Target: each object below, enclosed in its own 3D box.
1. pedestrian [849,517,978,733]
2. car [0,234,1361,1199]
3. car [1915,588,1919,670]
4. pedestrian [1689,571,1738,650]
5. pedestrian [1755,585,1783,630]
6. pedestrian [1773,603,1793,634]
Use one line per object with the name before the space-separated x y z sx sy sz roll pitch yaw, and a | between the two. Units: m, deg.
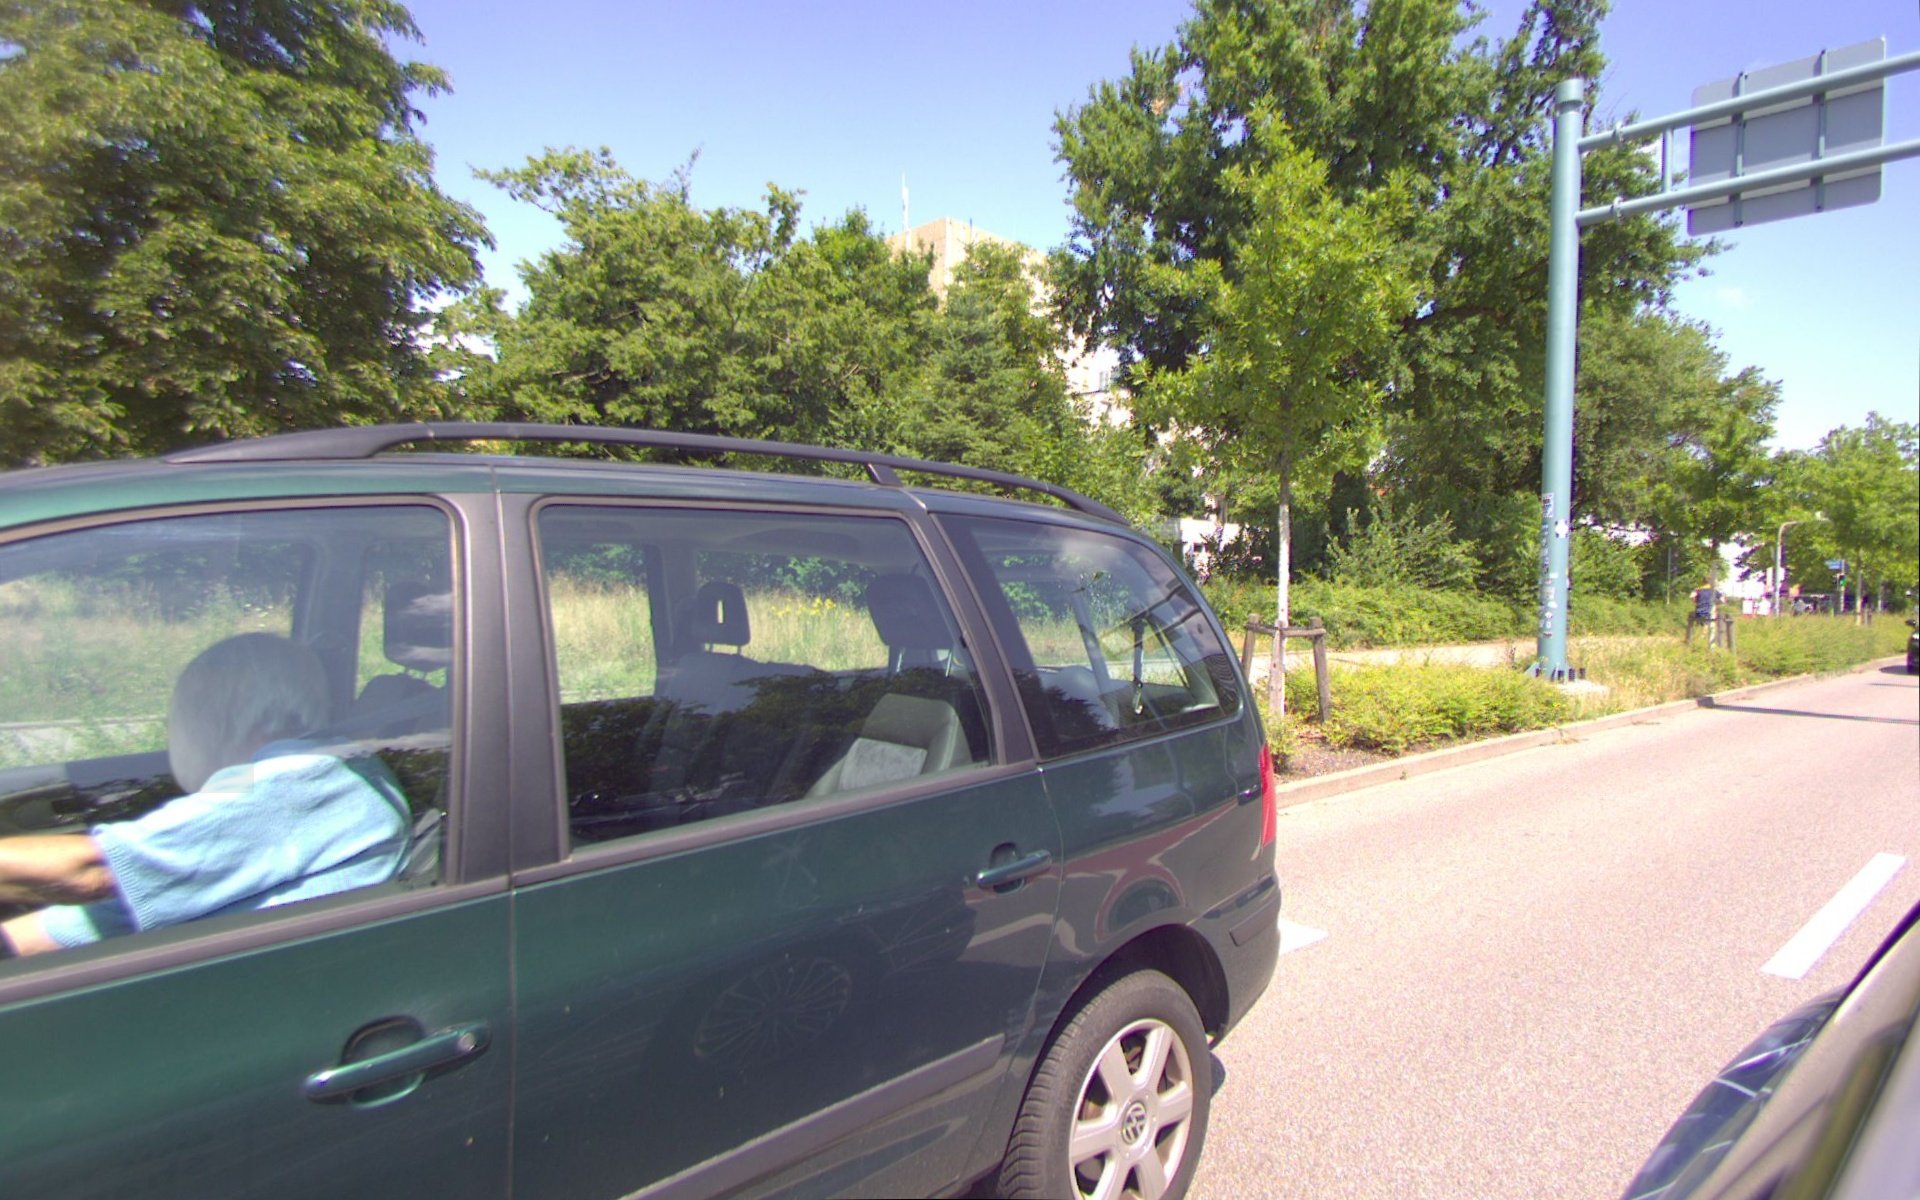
pedestrian | -0.400 0.195 8.512 0.799 1.705 0.762 1 1 -29
car | -1.136 0.524 1.969 4.315 1.737 1.804 0 -1 -41
car | 21.215 0.578 20.834 4.400 1.628 1.815 1 -1 -41
pedestrian | 17.402 0.236 23.367 0.869 1.787 0.640 1 1 -35
pedestrian | 37.787 0.334 47.274 0.839 2.063 0.892 1 0 31
pedestrian | 44.458 0.980 54.675 0.763 1.630 0.755 2 1 37
